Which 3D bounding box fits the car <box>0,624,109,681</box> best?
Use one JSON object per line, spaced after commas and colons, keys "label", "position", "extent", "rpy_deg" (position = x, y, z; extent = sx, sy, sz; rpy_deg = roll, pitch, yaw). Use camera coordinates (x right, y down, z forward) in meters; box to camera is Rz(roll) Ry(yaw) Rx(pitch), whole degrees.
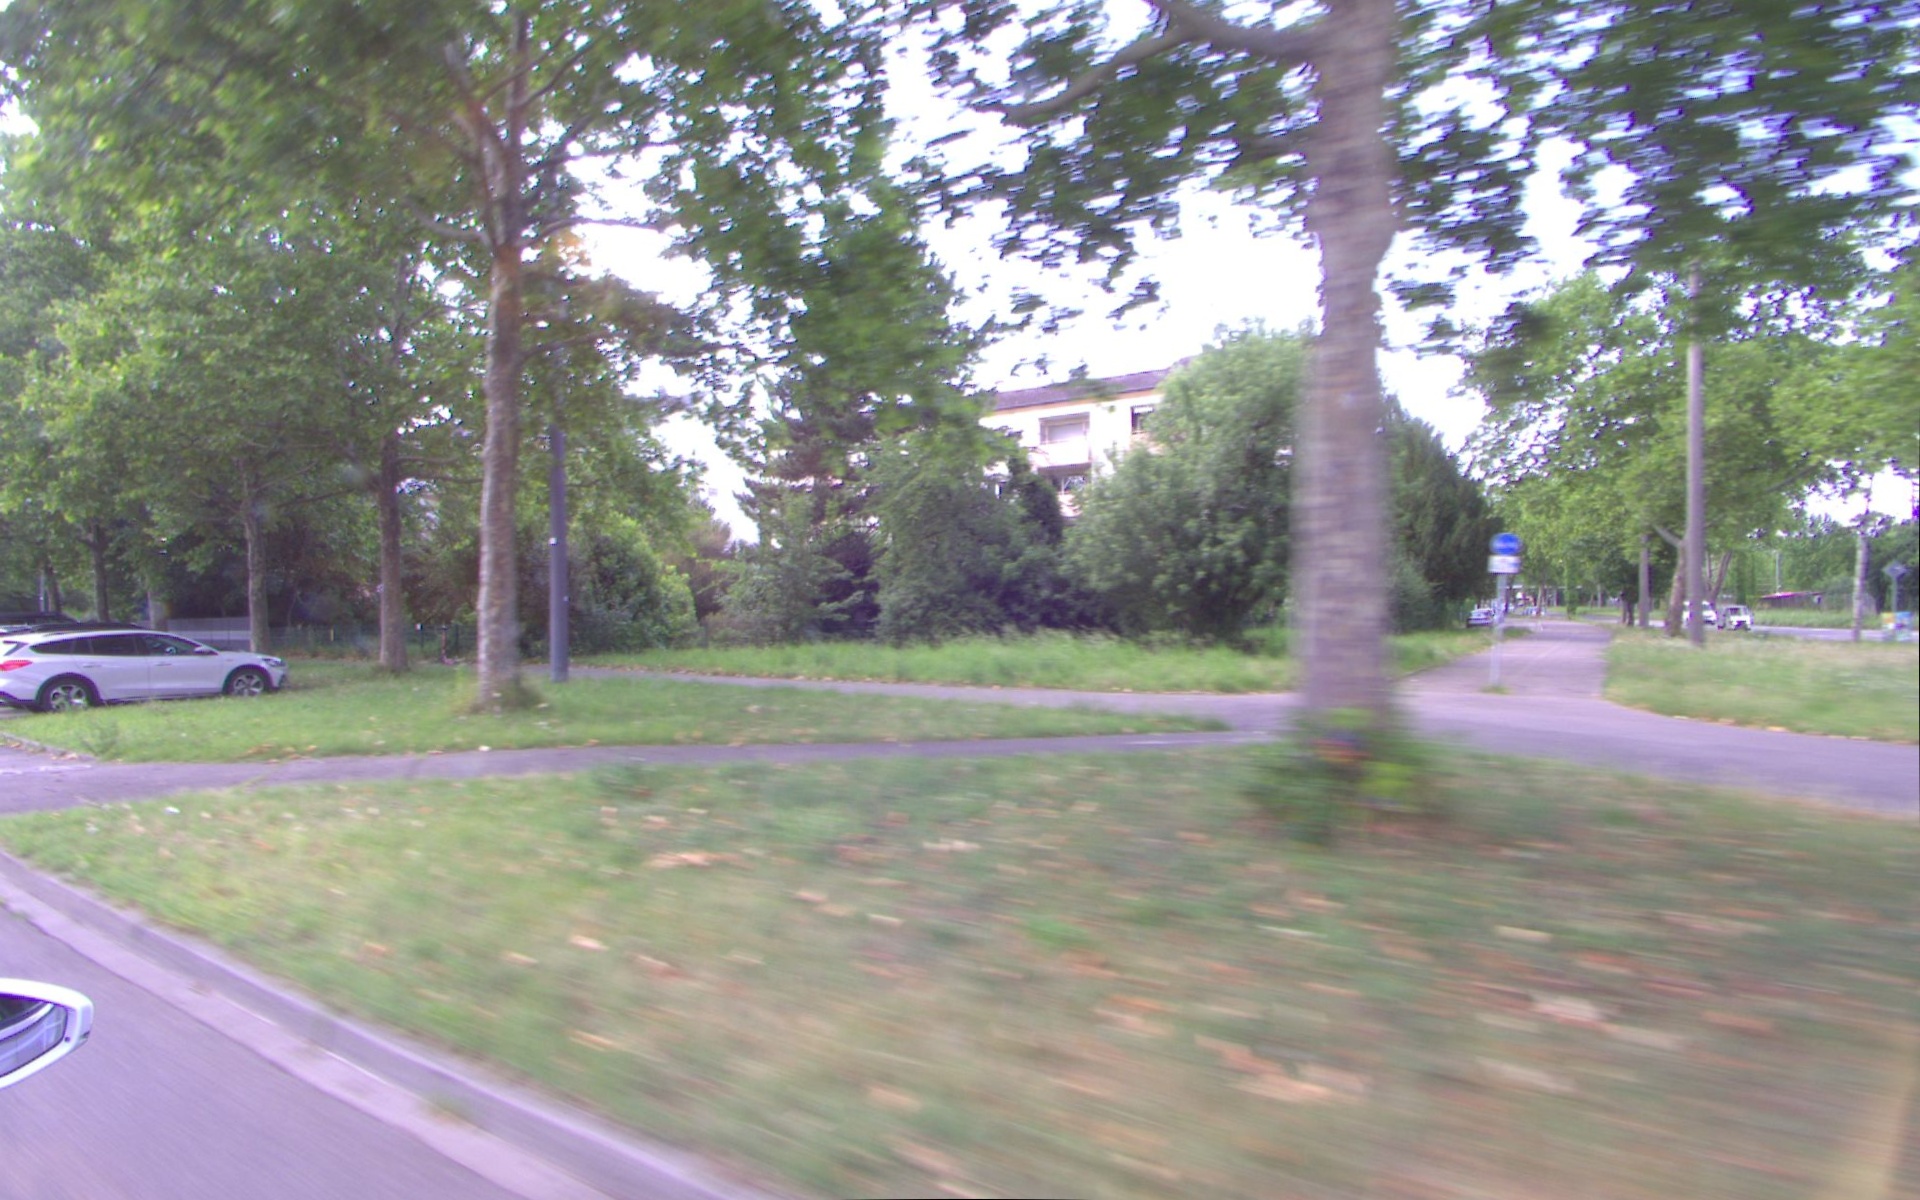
{"label": "car", "position": [-27.475, 1.541, 29.081], "extent": [1.735, 1.514, 3.947], "rpy_deg": [-2, 0, 40]}

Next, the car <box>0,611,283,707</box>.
{"label": "car", "position": [-16.934, 1.119, 20.592], "extent": [1.824, 1.647, 4.641], "rpy_deg": [-1, 0, 36]}

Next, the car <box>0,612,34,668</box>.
{"label": "car", "position": [-36.954, 1.521, 36.393], "extent": [1.832, 2.027, 4.529], "rpy_deg": [-1, 0, 36]}

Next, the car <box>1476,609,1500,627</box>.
{"label": "car", "position": [43.203, 1.436, 81.902], "extent": [1.654, 1.409, 3.292], "rpy_deg": [-1, 0, 29]}

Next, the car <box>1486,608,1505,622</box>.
{"label": "car", "position": [54.878, 1.567, 102.507], "extent": [1.654, 1.409, 3.292], "rpy_deg": [-1, 0, 29]}

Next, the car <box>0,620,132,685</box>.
{"label": "car", "position": [-25.342, 1.423, 27.233], "extent": [1.730, 1.626, 3.959], "rpy_deg": [-1, 0, 30]}

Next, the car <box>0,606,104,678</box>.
{"label": "car", "position": [-29.784, 1.314, 31.151], "extent": [1.834, 2.151, 4.525], "rpy_deg": [-1, 0, 40]}

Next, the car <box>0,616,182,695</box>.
{"label": "car", "position": [-21.185, 1.266, 23.516], "extent": [1.737, 1.661, 4.357], "rpy_deg": [-1, 0, 42]}

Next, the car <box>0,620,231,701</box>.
{"label": "car", "position": [-18.983, 1.274, 22.149], "extent": [1.736, 1.521, 4.357], "rpy_deg": [-1, 0, 42]}

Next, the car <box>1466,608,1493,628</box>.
{"label": "car", "position": [38.415, 1.324, 73.989], "extent": [1.654, 1.409, 3.292], "rpy_deg": [-1, 0, 29]}

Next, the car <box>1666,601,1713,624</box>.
{"label": "car", "position": [56.477, 0.961, 77.614], "extent": [1.966, 1.728, 3.990], "rpy_deg": [-1, -1, 22]}

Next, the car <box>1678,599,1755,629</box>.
{"label": "car", "position": [41.817, 0.760, 55.485], "extent": [1.965, 1.533, 4.679], "rpy_deg": [-2, -1, 18]}

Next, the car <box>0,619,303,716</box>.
{"label": "car", "position": [-15.421, 1.167, 18.952], "extent": [1.824, 1.493, 4.641], "rpy_deg": [-1, 0, 36]}

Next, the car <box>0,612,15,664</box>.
{"label": "car", "position": [-40.423, 1.581, 39.321], "extent": [1.832, 2.070, 4.529], "rpy_deg": [-1, 0, 36]}

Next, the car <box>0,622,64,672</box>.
{"label": "car", "position": [-34.713, 1.693, 35.159], "extent": [1.831, 1.682, 4.530], "rpy_deg": [-1, 0, 36]}
